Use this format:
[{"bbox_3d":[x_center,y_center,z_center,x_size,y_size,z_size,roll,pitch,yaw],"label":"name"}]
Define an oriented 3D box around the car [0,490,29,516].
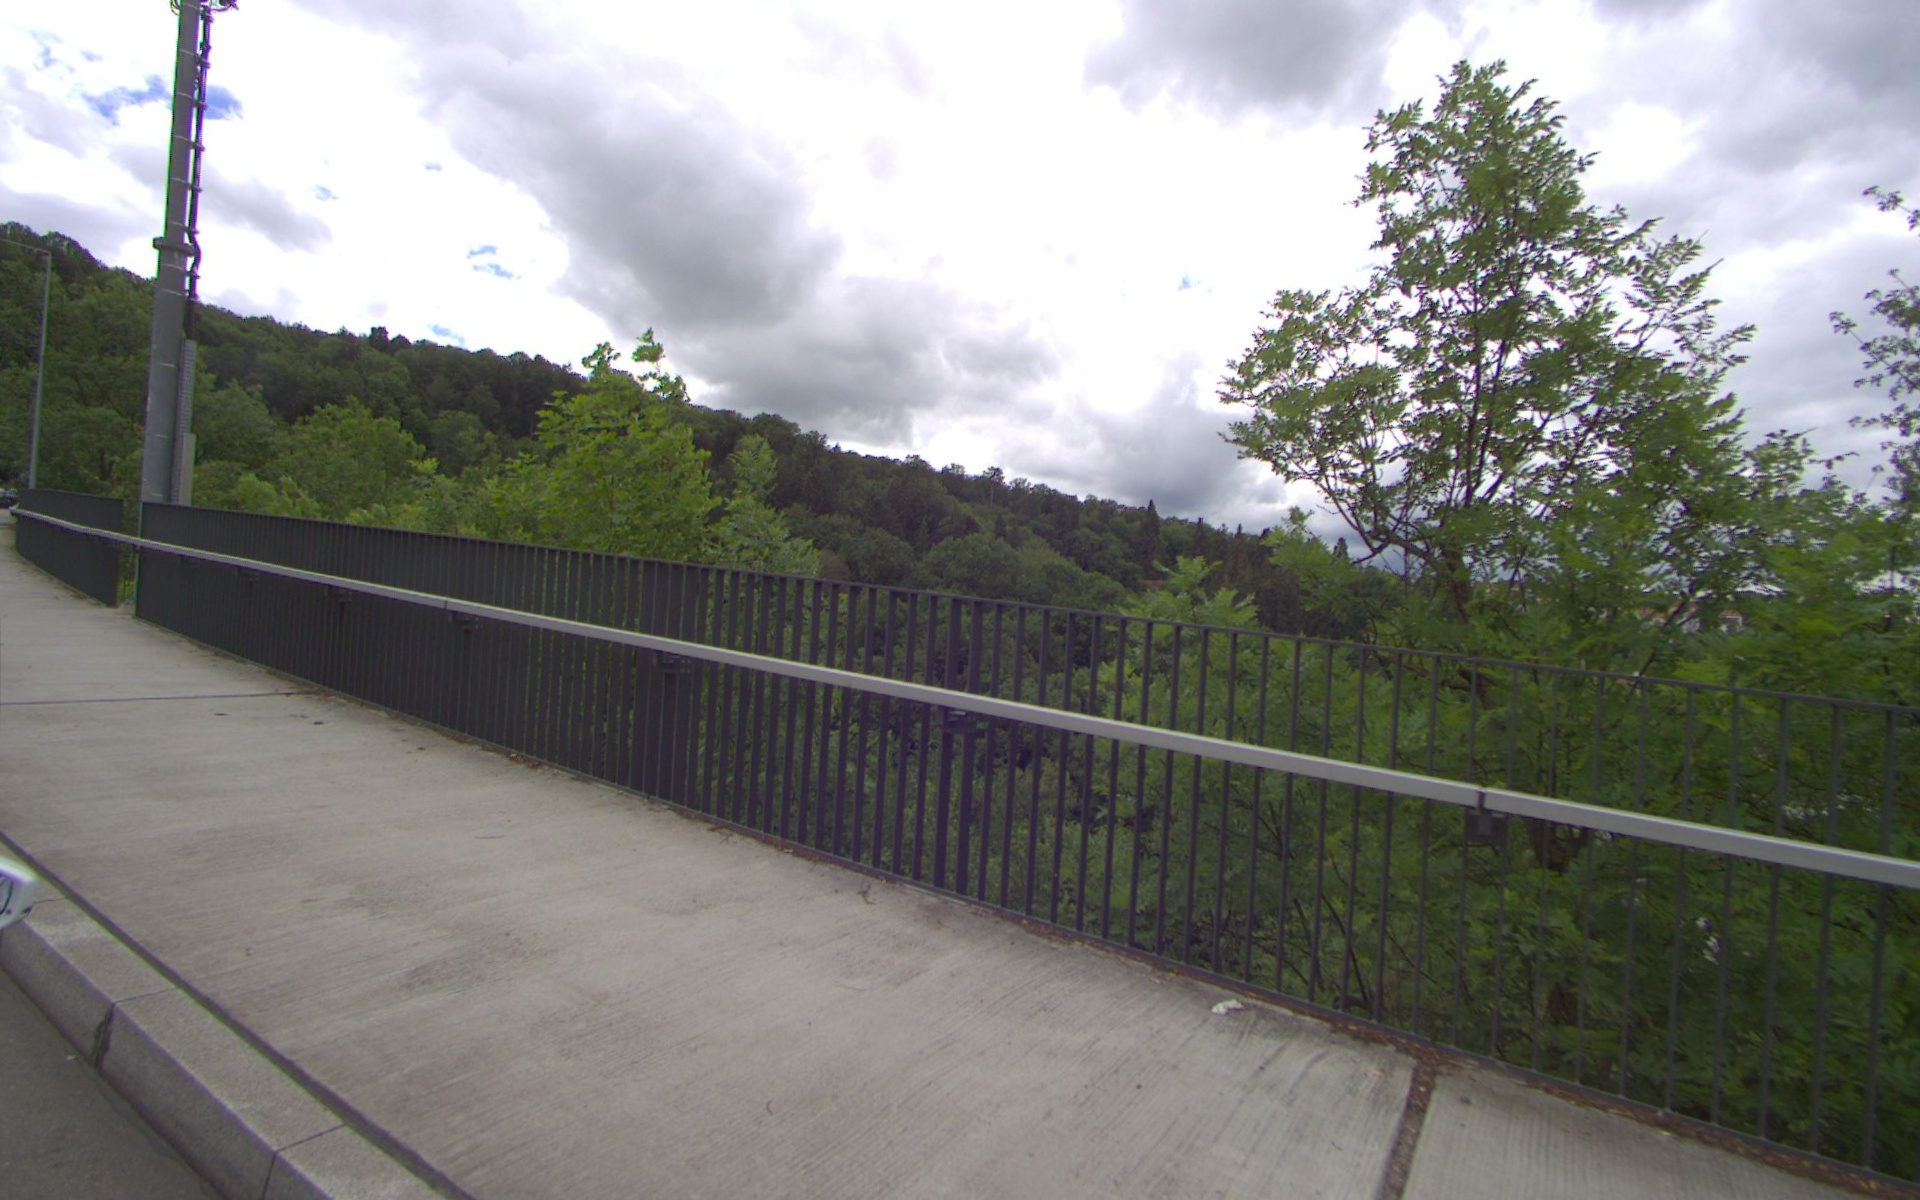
[{"bbox_3d":[-64.985,-6.660,68.501,3.944,1.526,1.813,6,-1,41],"label":"car"}]
